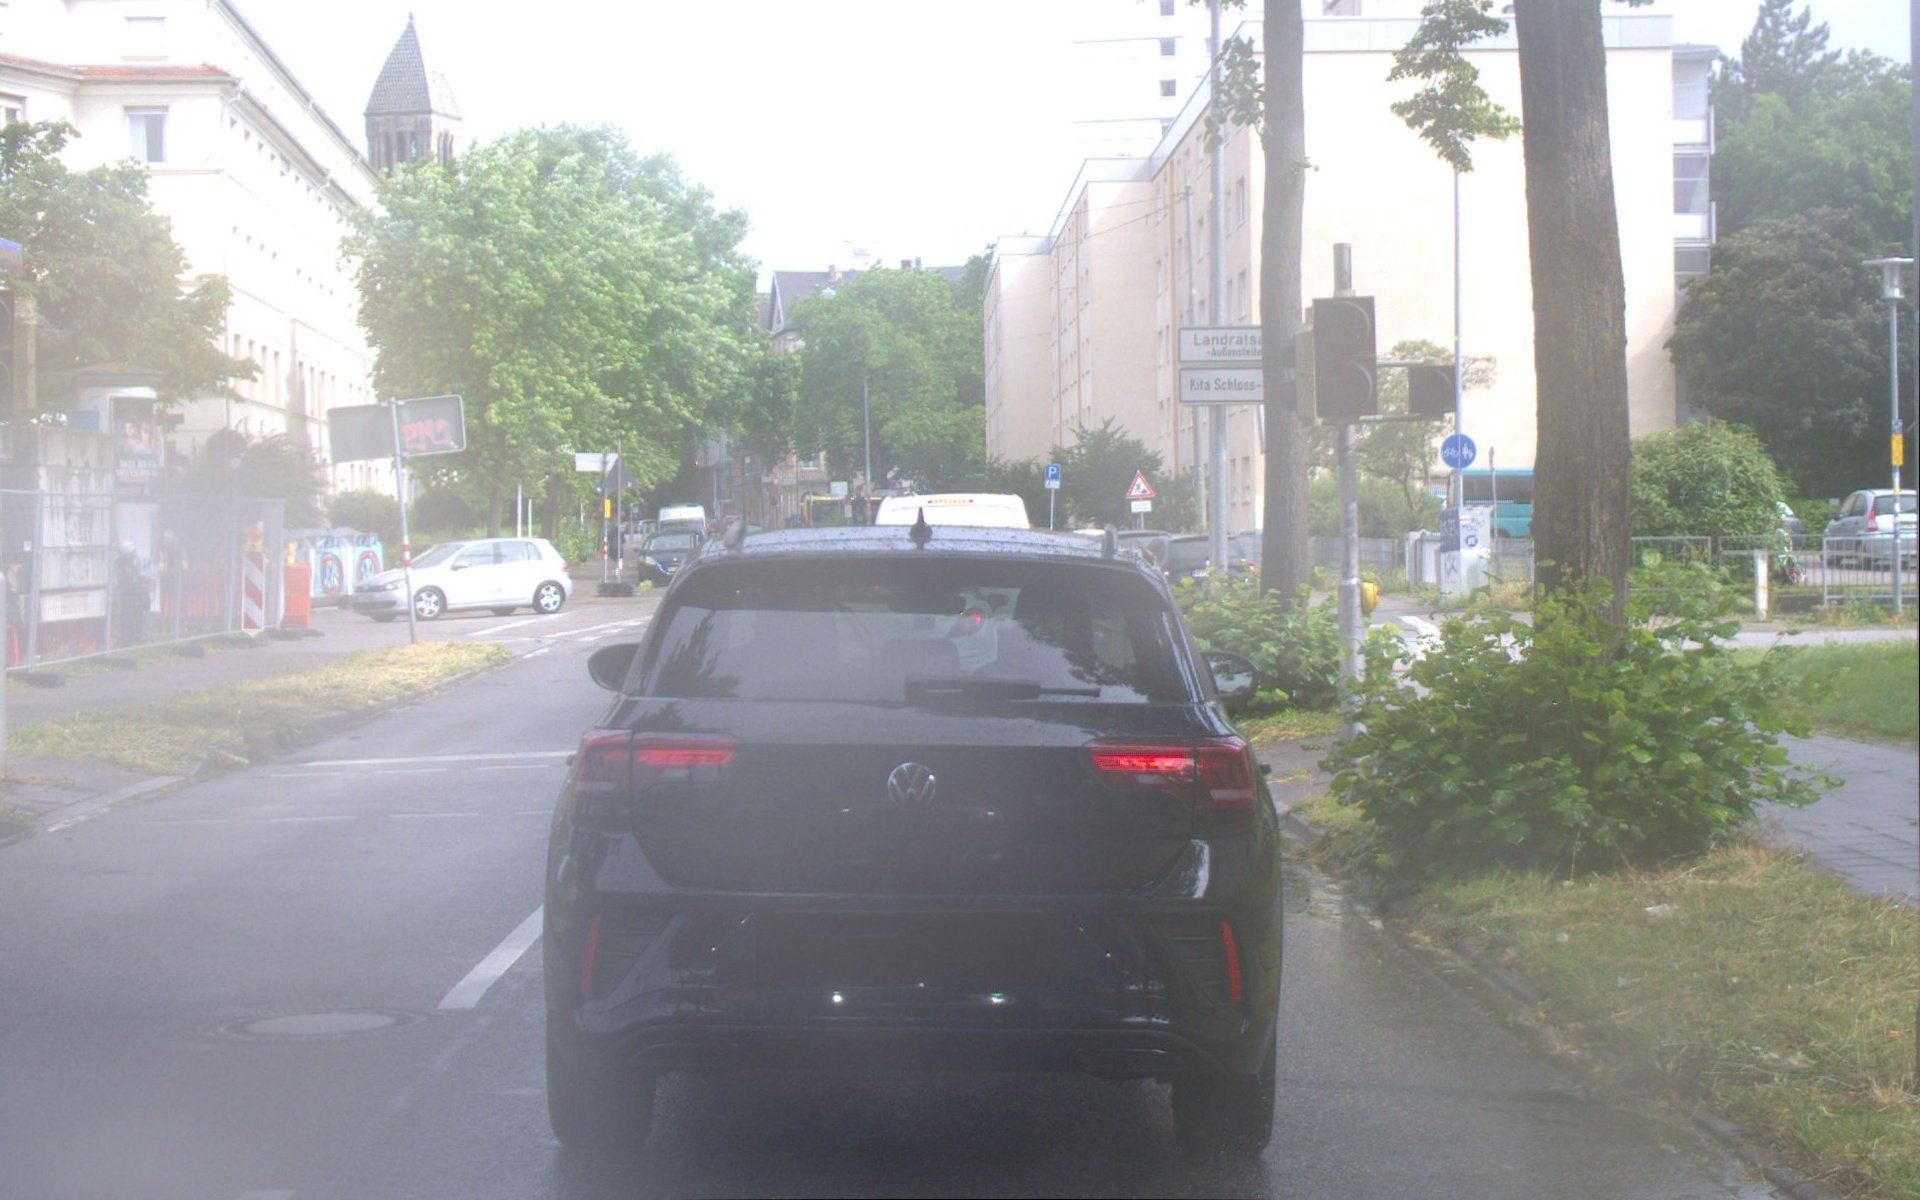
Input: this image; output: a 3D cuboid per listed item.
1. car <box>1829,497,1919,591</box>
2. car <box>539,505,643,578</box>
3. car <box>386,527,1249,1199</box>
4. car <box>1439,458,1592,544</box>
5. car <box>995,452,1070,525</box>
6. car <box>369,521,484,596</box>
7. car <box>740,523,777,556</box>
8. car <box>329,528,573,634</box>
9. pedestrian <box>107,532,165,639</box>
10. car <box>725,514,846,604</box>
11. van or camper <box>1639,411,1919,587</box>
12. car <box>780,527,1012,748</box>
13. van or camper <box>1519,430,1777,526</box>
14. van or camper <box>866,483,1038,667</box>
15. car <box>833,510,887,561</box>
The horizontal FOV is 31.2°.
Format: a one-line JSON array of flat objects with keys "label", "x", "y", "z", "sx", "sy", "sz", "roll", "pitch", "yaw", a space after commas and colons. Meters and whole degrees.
[{"label": "car", "x": 18.010, "y": -1.107, "z": 66.379, "sx": 1.743, "sy": 1.678, "sz": 3.870, "roll": -4, "pitch": 1, "yaw": 6}, {"label": "car", "x": -8.445, "y": -1.363, "z": 78.915, "sx": 1.591, "sy": 1.507, "sz": 3.731, "roll": -4, "pitch": 1, "yaw": 5}, {"label": "car", "x": -0.317, "y": 0.566, "z": 9.575, "sx": 1.895, "sy": 1.517, "sz": 4.000, "roll": 0, "pitch": 1, "yaw": 0}, {"label": "car", "x": 12.974, "y": -2.320, "z": 80.389, "sx": 3.408, "sy": 1.775, "sz": 1.759, "roll": -4, "pitch": 1, "yaw": 9}, {"label": "car", "x": 2.053, "y": -3.170, "z": 98.504, "sx": 1.993, "sy": 2.007, "sz": 4.000, "roll": -1, "pitch": 1, "yaw": -1}, {"label": "car", "x": -11.894, "y": -0.947, "z": 76.829, "sx": 1.591, "sy": 1.507, "sz": 3.731, "roll": -4, "pitch": 1, "yaw": 5}, {"label": "car", "x": -9.894, "y": -2.978, "z": 169.169, "sx": 1.591, "sy": 1.507, "sz": 3.732, "roll": -4, "pitch": 1, "yaw": -2}, {"label": "car", "x": -9.248, "y": -0.349, "z": 62.560, "sx": 3.923, "sy": 1.645, "sz": 1.760, "roll": -4, "pitch": 1, "yaw": -32}, {"label": "pedestrian", "x": -11.610, "y": -0.211, "z": 48.424, "sx": 0.660, "sy": 1.480, "sz": 0.673, "roll": -1, "pitch": 2, "yaw": -25}, {"label": "car", "x": -3.603, "y": -0.880, "z": 71.581, "sx": 1.789, "sy": 1.678, "sz": 4.485, "roll": -4, "pitch": 1, "yaw": 5}, {"label": "van or camper", "x": 13.269, "y": -1.569, "z": 53.177, "sx": 5.032, "sy": 2.587, "sz": 2.168, "roll": -1, "pitch": 1, "yaw": -1}, {"label": "car", "x": -0.489, "y": 0.278, "z": 29.816, "sx": 1.680, "sy": 1.702, "sz": 3.909, "roll": -3, "pitch": 1, "yaw": 3}, {"label": "van or camper", "x": 14.064, "y": -2.508, "z": 70.504, "sx": 4.874, "sy": 1.919, "sz": 2.131, "roll": 0, "pitch": 2, "yaw": 0}, {"label": "van or camper", "x": -0.050, "y": -0.319, "z": 38.430, "sx": 1.819, "sy": 1.941, "sz": 4.195, "roll": 0, "pitch": 1, "yaw": 1}, {"label": "car", "x": -3.205, "y": -2.064, "z": 110.192, "sx": 1.591, "sy": 1.507, "sz": 3.732, "roll": -4, "pitch": 1, "yaw": -2}]
